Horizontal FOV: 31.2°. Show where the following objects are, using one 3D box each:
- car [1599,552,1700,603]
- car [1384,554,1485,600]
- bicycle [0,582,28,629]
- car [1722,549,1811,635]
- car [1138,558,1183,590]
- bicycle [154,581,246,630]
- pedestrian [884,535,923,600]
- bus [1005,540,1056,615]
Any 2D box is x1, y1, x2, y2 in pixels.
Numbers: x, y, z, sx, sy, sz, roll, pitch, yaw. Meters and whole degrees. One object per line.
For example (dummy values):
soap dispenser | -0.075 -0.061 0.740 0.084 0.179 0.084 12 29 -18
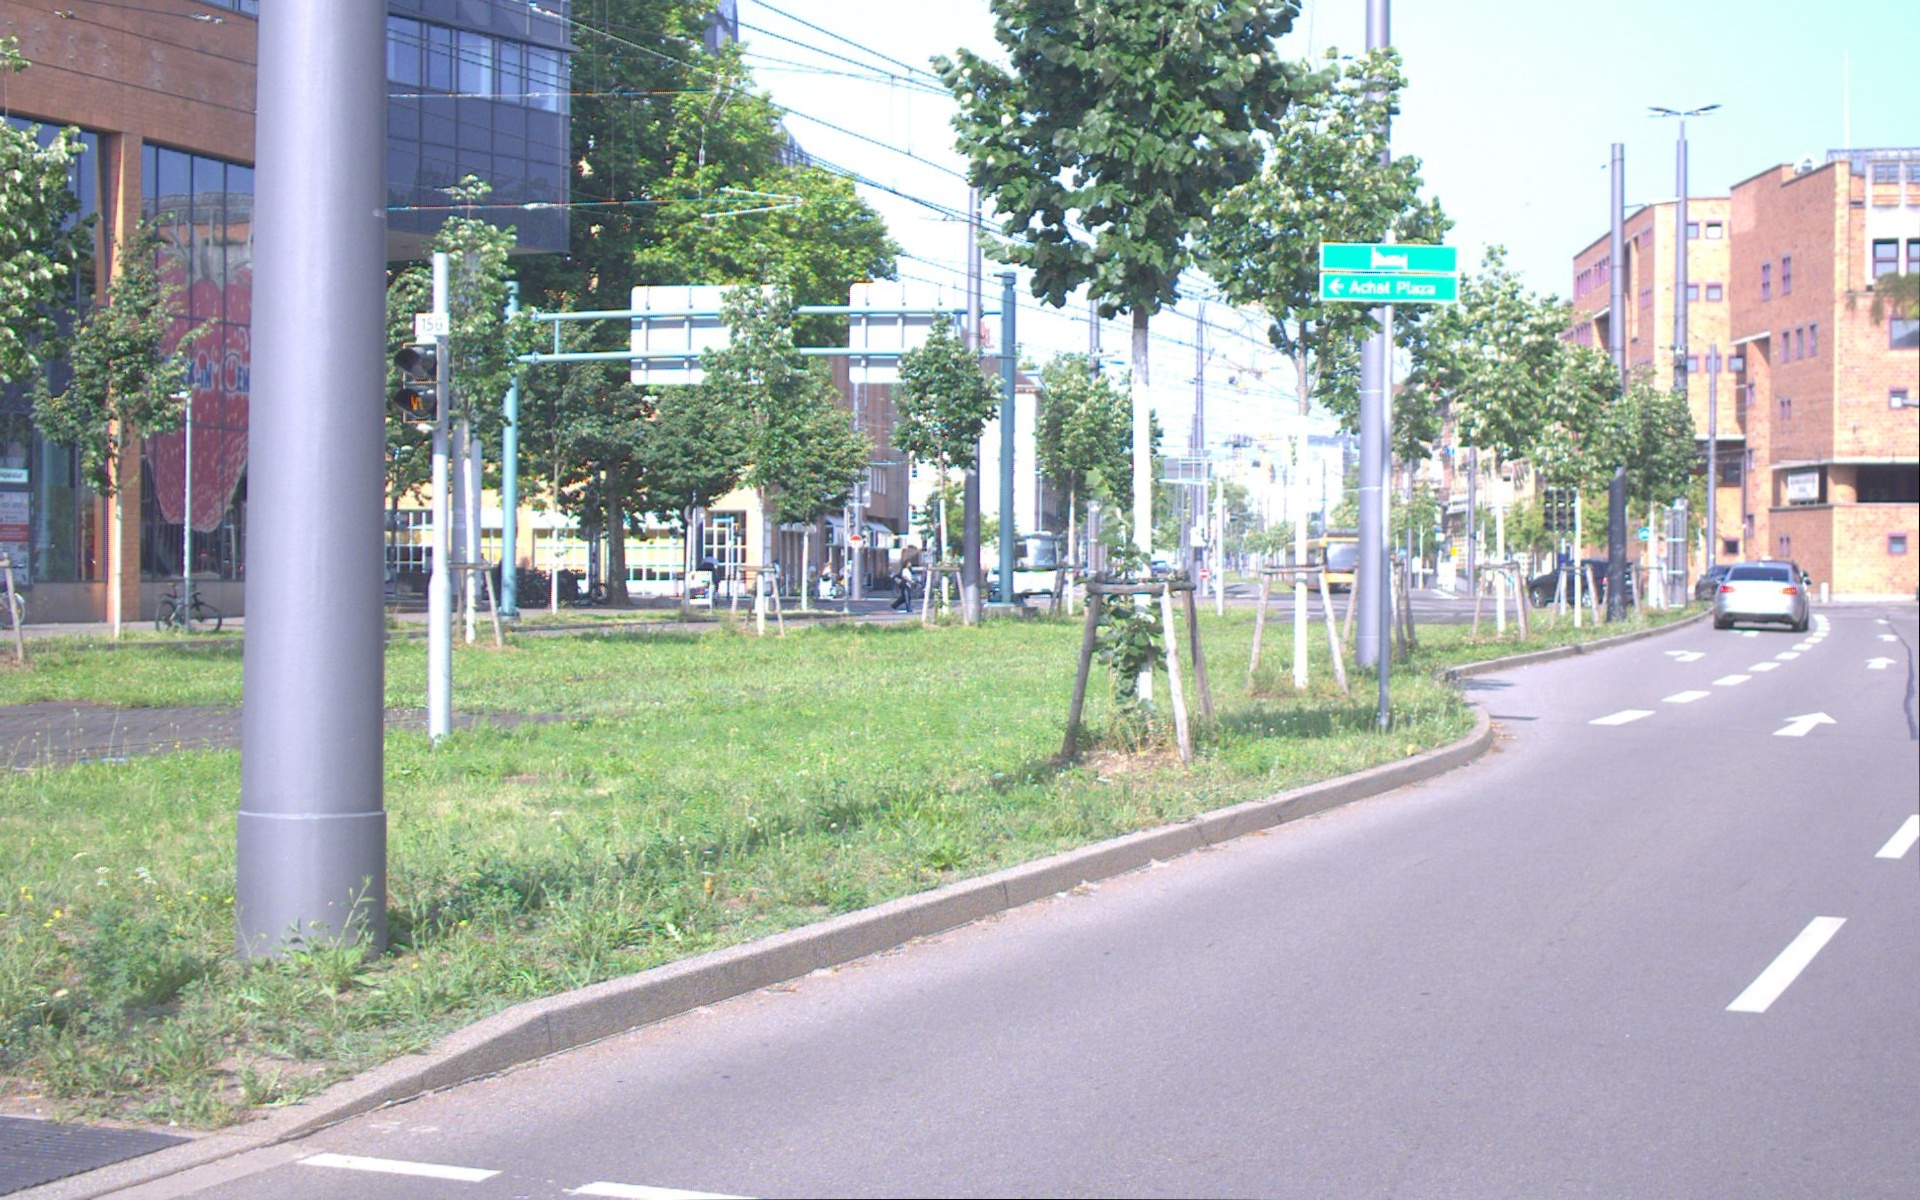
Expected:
car | 23.815 -0.752 118.712 1.997 1.673 3.992 0 -1 35
car | 17.700 -0.858 128.142 3.613 1.618 1.867 1 1 11
bicycle | -19.331 0.095 67.619 2.051 0.918 0.573 1 1 25
car | 17.118 -0.151 72.904 1.706 1.749 3.887 0 -1 15
car | 9.716 -1.252 166.291 1.730 1.536 3.446 1 1 10
bicycle | -14.527 0.101 65.729 1.678 0.904 0.708 1 0 30
pedestrian | -1.758 -1.007 107.438 1.155 2.007 0.776 1 -1 2
bus | 3.959 -1.210 192.374 2.746 3.908 12.216 1 -1 1
